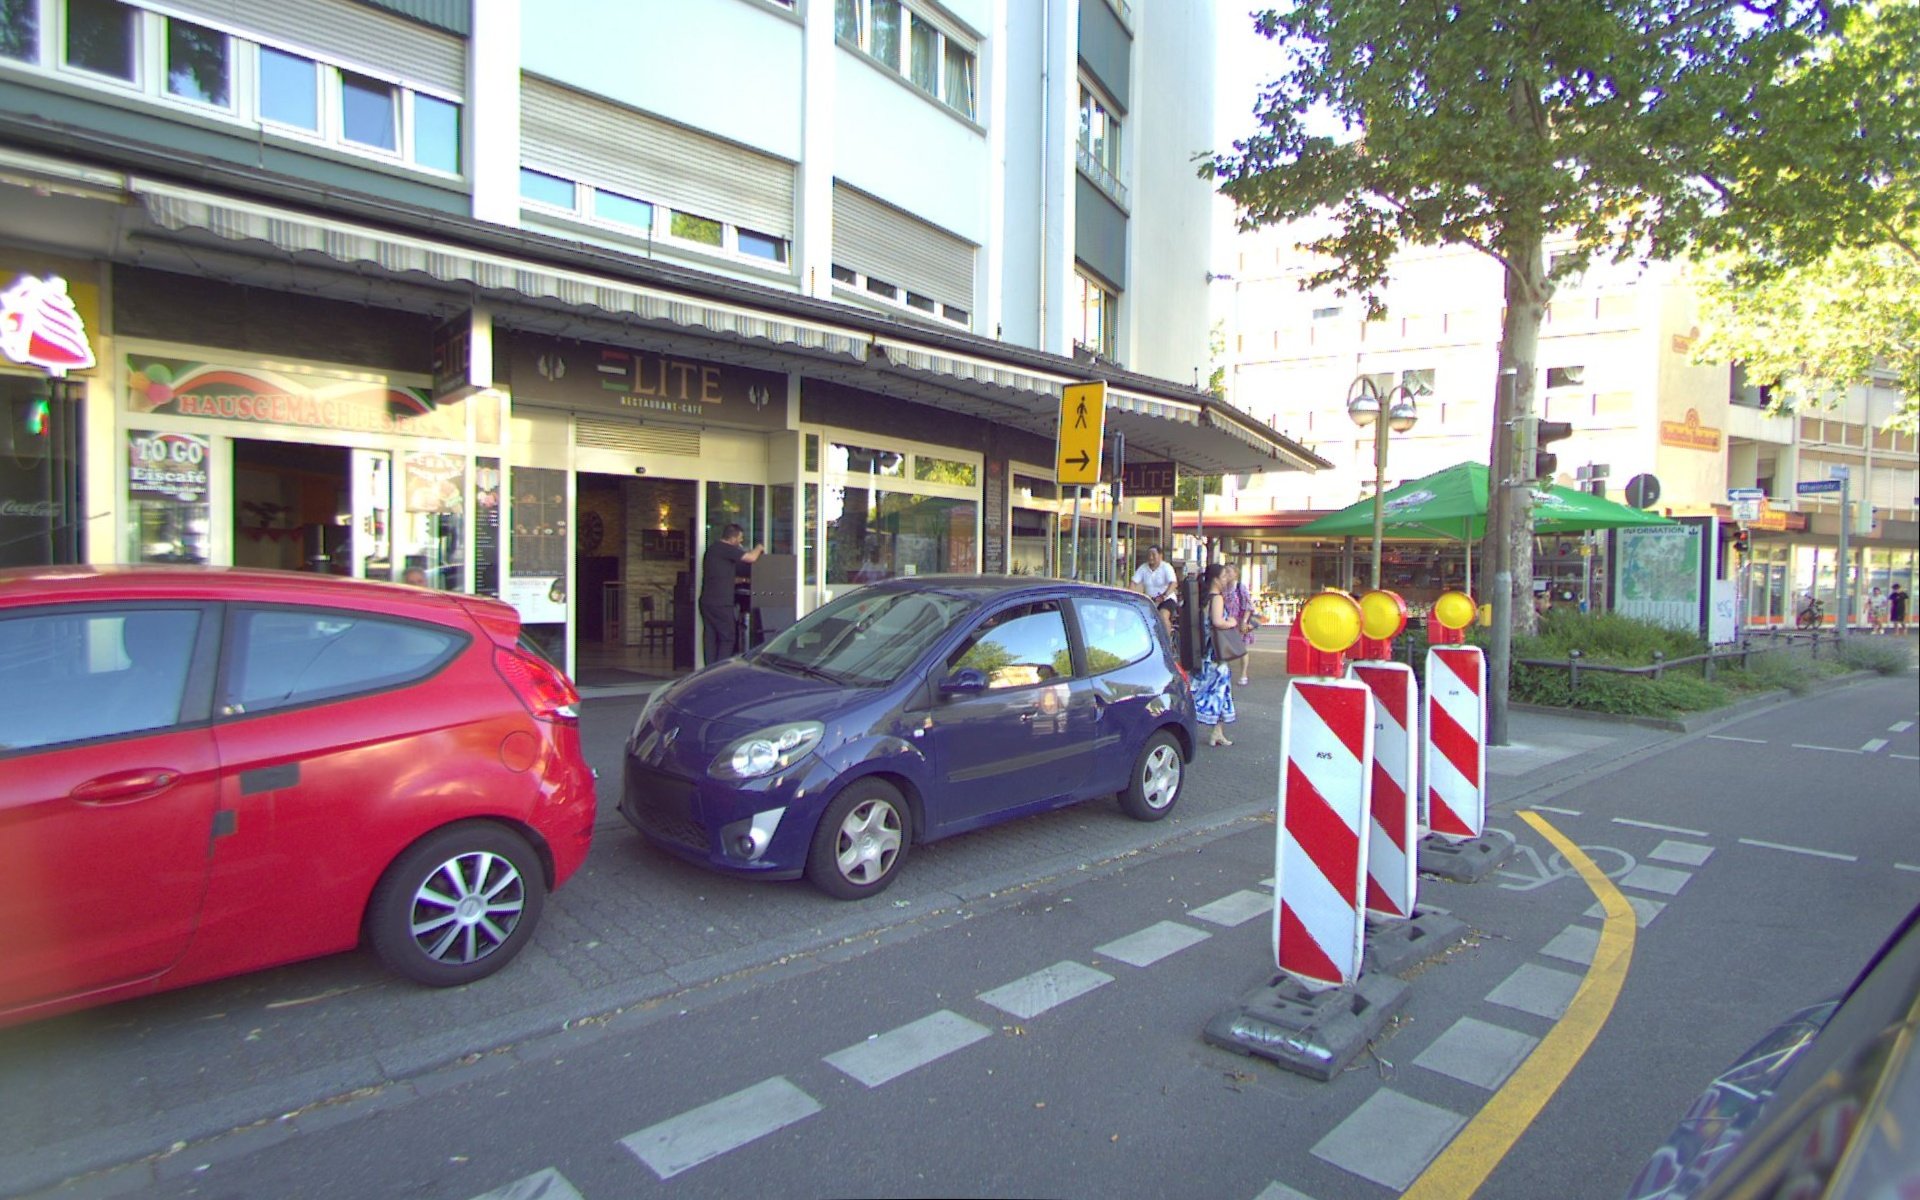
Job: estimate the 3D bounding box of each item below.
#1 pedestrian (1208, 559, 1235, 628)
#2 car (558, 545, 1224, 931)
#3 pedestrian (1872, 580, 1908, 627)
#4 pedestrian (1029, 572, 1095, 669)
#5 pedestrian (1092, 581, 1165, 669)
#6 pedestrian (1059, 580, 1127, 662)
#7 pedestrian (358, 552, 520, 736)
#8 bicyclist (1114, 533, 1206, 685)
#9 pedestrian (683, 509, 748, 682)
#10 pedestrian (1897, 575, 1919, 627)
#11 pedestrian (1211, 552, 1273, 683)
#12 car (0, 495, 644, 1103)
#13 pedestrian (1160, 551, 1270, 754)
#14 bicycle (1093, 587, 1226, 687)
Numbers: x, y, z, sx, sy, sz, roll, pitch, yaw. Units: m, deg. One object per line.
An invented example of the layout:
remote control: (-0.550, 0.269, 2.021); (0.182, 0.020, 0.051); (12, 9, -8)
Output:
pedestrian: (7.736, -0.205, 29.951); (0.638, 1.983, 0.888); (1, 1, 8)
car: (-0.225, 0.509, 5.933); (3.551, 1.485, 1.769); (-1, 5, -44)
pedestrian: (29.323, 0.097, 31.918); (0.520, 1.455, 0.630); (0, 1, -21)
pedestrian: (1.430, 0.272, 14.265); (0.685, 1.323, 0.793); (1, 1, -13)
pedestrian: (2.412, 0.338, 14.545); (0.685, 1.207, 0.881); (0, 1, -18)
pedestrian: (2.019, 0.301, 15.374); (0.776, 1.207, 0.648); (0, 1, -34)
pedestrian: (-4.207, 0.301, 8.156); (0.937, 1.352, 1.069); (0, 2, -41)
bicyclist: (2.547, 0.084, 12.867); (0.751, 1.848, 0.912); (3, 3, 42)
pedestrian: (-2.615, -0.063, 10.833); (0.547, 1.800, 0.395); (-1, 4, -43)
pedestrian: (29.566, 0.028, 31.321); (0.520, 1.605, 0.630); (0, 1, -21)
pedestrian: (3.691, 0.212, 13.262); (0.624, 1.657, 0.525); (2, 1, 34)
car: (-3.205, 0.472, 3.265); (3.761, 1.614, 1.784); (-1, 5, -45)
pedestrian: (2.209, 0.413, 8.762); (0.783, 1.666, 0.583); (-2, 3, -42)
bicycle: (2.576, 0.441, 12.928); (0.749, 1.143, 1.857); (5, 3, 42)
